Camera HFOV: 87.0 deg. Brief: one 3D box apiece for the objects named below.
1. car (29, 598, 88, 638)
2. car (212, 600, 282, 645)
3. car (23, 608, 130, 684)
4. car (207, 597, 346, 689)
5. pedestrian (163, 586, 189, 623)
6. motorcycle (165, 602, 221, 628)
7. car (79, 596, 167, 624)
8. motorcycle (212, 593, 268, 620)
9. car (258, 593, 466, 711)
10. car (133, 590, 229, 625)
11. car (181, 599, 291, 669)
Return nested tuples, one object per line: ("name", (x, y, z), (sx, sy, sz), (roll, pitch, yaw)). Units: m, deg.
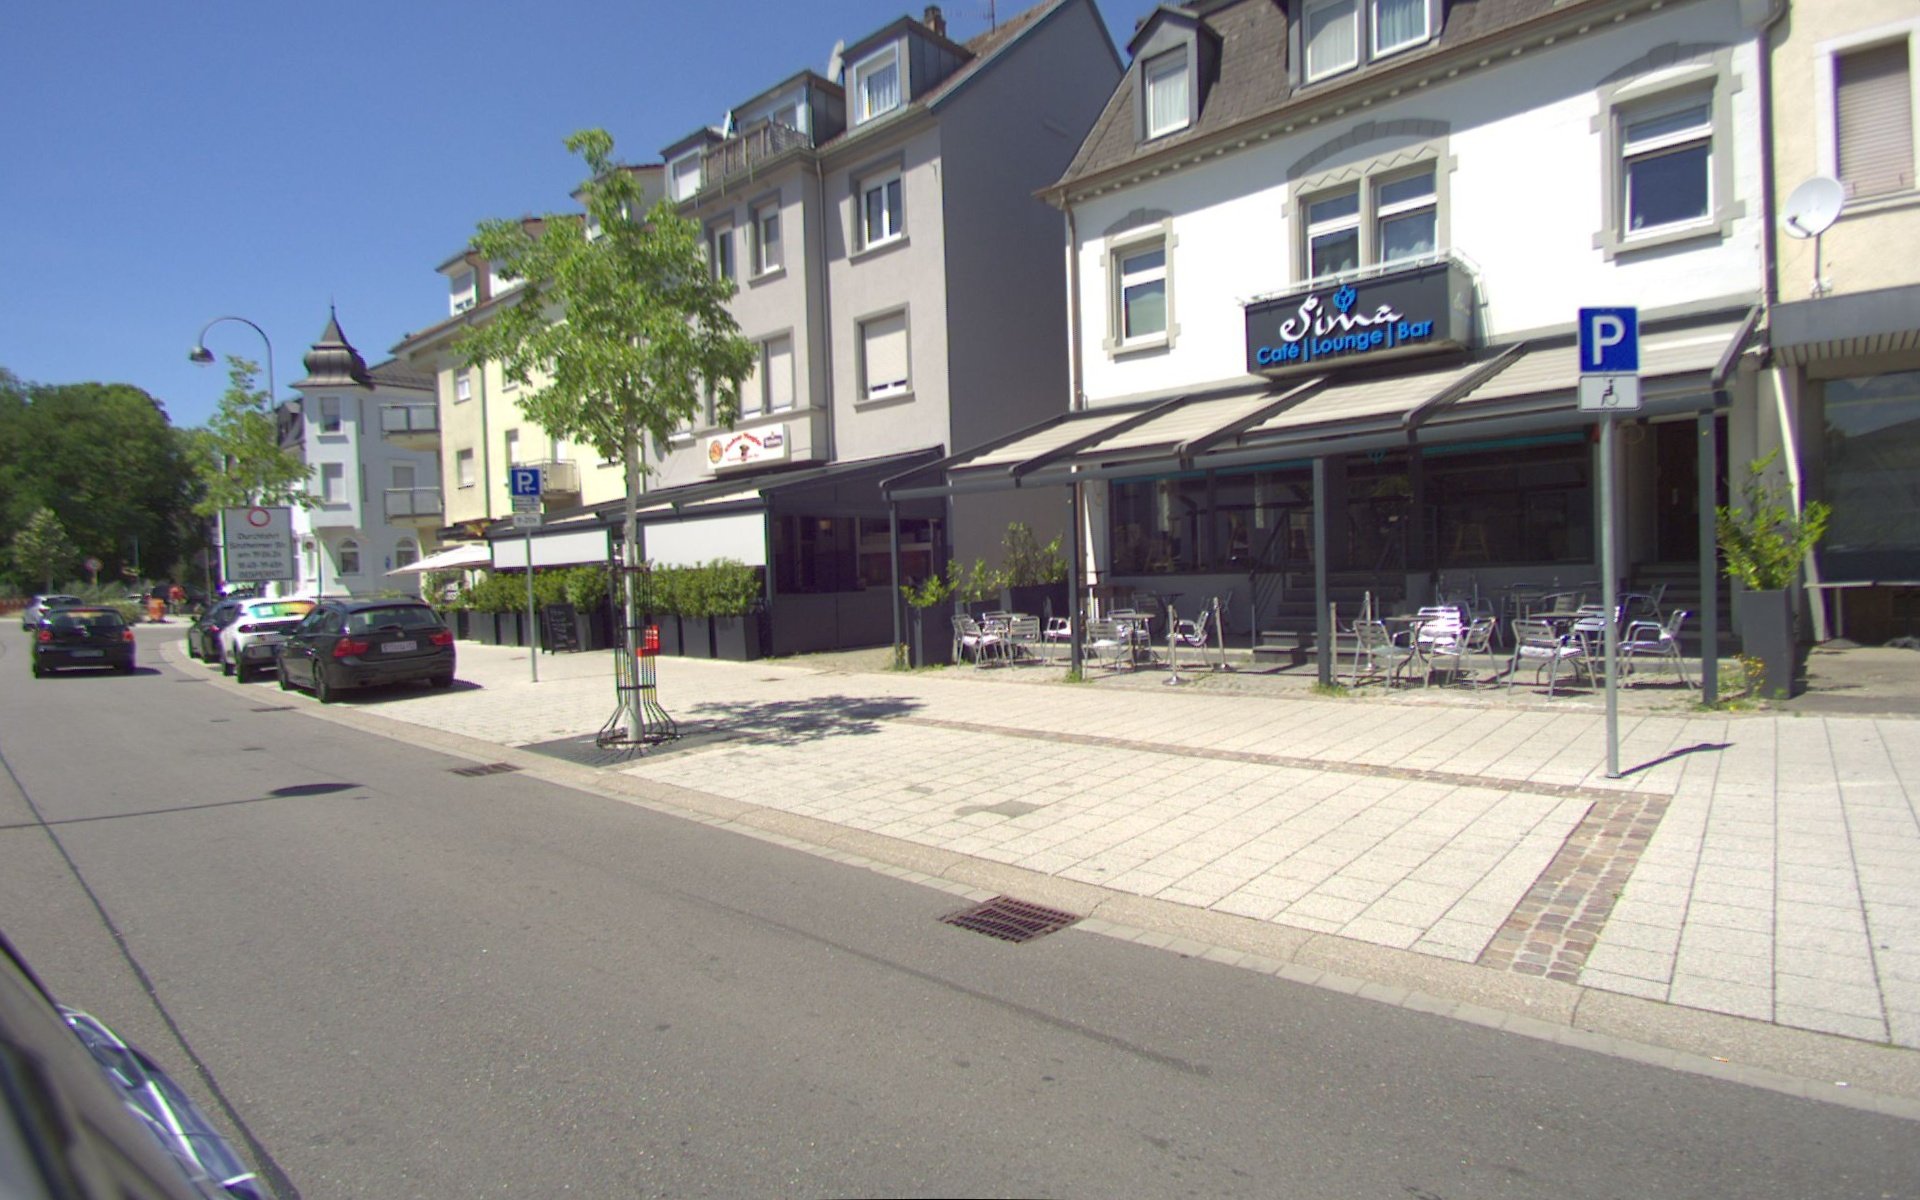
("car", (-36.737, 0.701, 41.204), (1.661, 1.495, 4.090), (-3, 2, -43))
("car", (-24.393, 0.758, 34.596), (1.872, 1.452, 3.784), (0, -1, -36))
("car", (-18.852, 0.915, 21.598), (1.596, 1.465, 3.869), (0, 0, -42))
("car", (-13.275, 0.756, 19.576), (1.661, 1.495, 3.773), (-5, 3, -42))
("pedestrian", (-39.111, 0.222, 50.481), (0.800, 1.779, 0.750), (-1, 0, 33))
("motorcycle", (-41.057, 0.789, 54.221), (2.290, 1.335, 0.726), (-2, 1, -45))
("car", (-50.912, 0.593, 61.684), (1.815, 1.548, 3.930), (-1, 1, 8))
("motorcycle", (-37.845, 0.352, 53.200), (2.290, 1.335, 0.726), (-2, 1, -45))
("car", (-9.421, 0.716, 15.781), (1.734, 1.456, 4.453), (-6, 4, -44))
("car", (-42.794, 0.382, 55.657), (4.020, 1.752, 1.817), (-2, 1, -42))
("car", (-17.954, 0.777, 25.015), (1.661, 1.495, 4.345), (-5, 3, -42))
